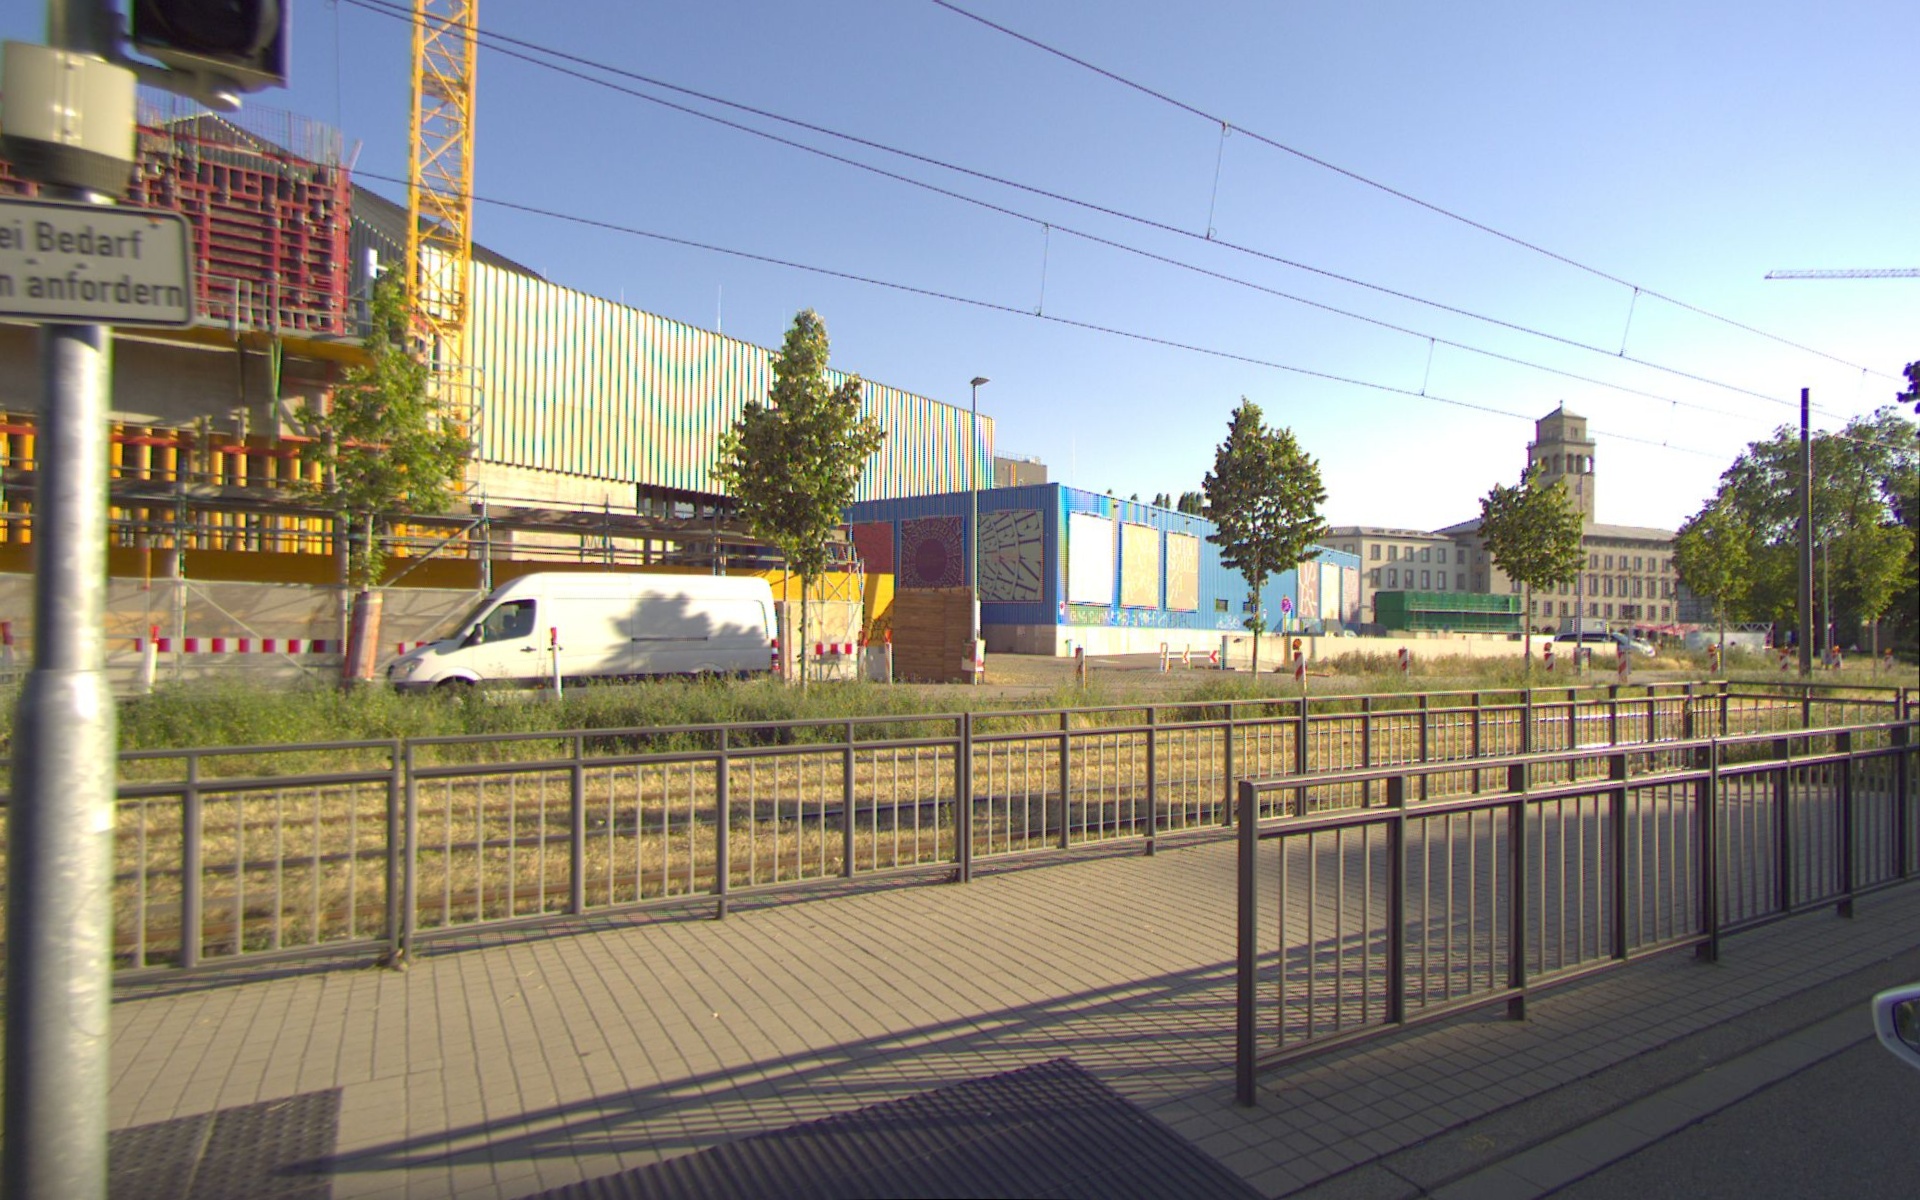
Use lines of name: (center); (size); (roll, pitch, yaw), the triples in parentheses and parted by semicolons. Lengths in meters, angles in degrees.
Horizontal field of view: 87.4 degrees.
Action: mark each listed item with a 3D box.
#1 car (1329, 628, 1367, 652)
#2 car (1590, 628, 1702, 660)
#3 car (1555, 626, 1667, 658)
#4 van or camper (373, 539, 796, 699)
car: (29.182, 3.013, 75.523); (1.391, 1.657, 4.206); (1, -2, 39)
car: (40.854, 2.593, 59.991); (2.097, 1.739, 5.209); (2, -2, -26)
car: (38.211, 2.434, 59.141); (2.097, 1.739, 5.209); (2, -2, -26)
van or camper: (-6.811, 0.451, 18.821); (7.123, 2.543, 2.209); (2, -3, -33)
